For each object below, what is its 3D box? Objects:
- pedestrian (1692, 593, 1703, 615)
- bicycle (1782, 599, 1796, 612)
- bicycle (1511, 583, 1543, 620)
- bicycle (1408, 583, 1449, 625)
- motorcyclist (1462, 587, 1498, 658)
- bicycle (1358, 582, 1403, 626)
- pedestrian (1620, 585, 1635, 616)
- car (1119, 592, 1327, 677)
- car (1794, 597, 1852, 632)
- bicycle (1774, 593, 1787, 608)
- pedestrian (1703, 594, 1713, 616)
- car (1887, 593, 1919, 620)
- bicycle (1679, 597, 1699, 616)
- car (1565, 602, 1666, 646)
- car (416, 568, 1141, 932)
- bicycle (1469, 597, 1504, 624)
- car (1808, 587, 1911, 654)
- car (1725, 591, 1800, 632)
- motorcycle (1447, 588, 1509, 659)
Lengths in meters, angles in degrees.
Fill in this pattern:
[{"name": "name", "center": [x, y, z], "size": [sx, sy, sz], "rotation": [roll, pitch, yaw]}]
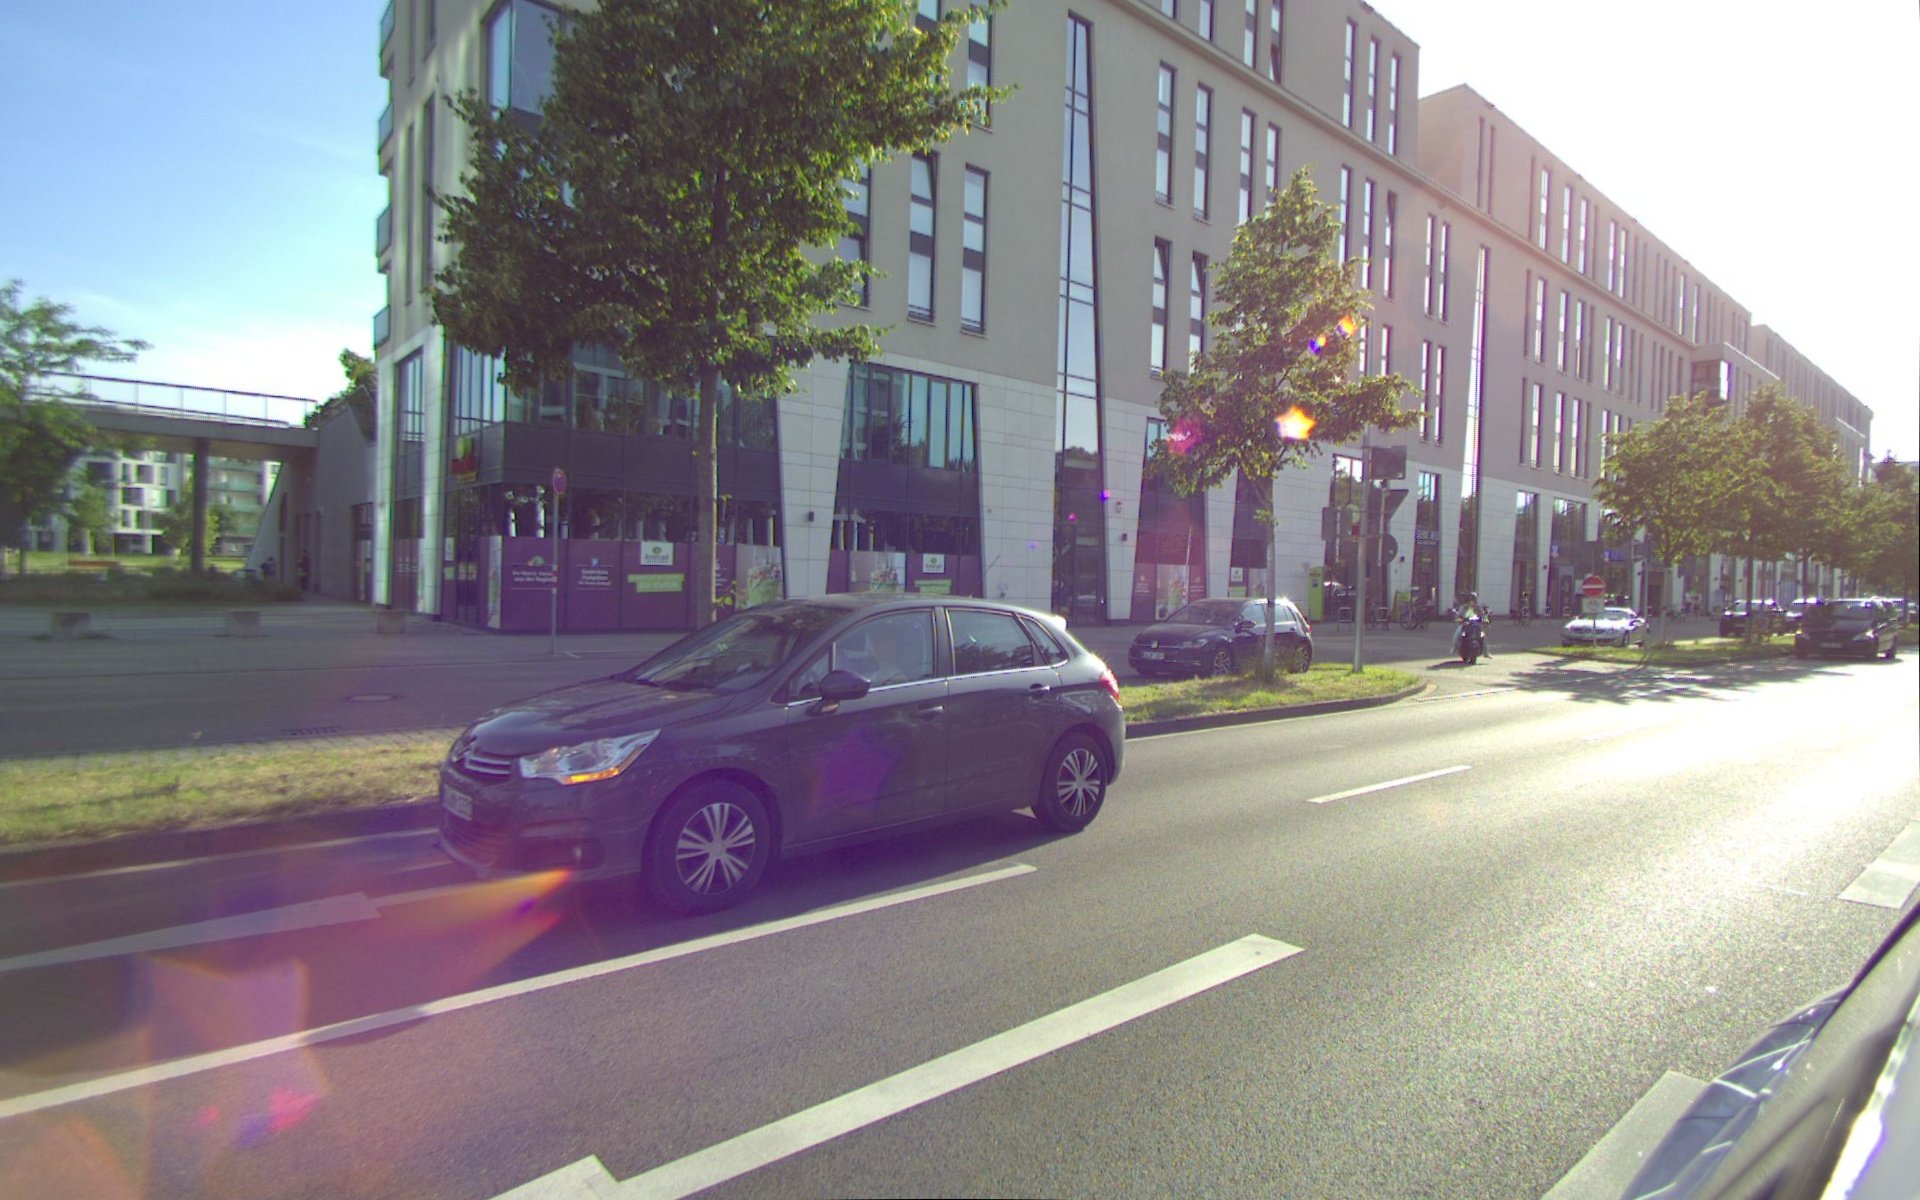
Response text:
[{"name": "pedestrian", "center": [52.626, 0.301, 72.183], "size": [0.587, 1.541, 0.514], "rotation": [0, 0, -41]}, {"name": "bicycle", "center": [66.314, 0.453, 80.948], "size": [2.007, 1.012, 0.419], "rotation": [0, 5, -40]}, {"name": "bicycle", "center": [25.957, 0.064, 46.341], "size": [2.173, 1.639, 0.556], "rotation": [-1, 0, -40]}, {"name": "bicycle", "center": [18.249, 0.141, 39.409], "size": [2.173, 1.587, 0.556], "rotation": [-1, 0, -40]}, {"name": "motorcyclist", "center": [12.602, 0.535, 24.547], "size": [0.411, 1.660, 0.624], "rotation": [0, 2, -44]}, {"name": "bicycle", "center": [15.508, 0.140, 37.315], "size": [2.236, 1.590, 0.556], "rotation": [-1, 0, -40]}, {"name": "pedestrian", "center": [38.646, 0.001, 58.598], "size": [0.635, 1.785, 0.538], "rotation": [0, 0, -40]}, {"name": "car", "center": [4.859, 0.547, 18.446], "size": [4.083, 1.388, 1.610], "rotation": [-1, 1, -40]}, {"name": "car", "center": [45.529, 0.737, 53.377], "size": [4.223, 1.733, 1.829], "rotation": [-1, 1, -43]}, {"name": "bicycle", "center": [63.666, 0.020, 78.510], "size": [1.702, 1.094, 0.345], "rotation": [0, 5, -40]}, {"name": "pedestrian", "center": [53.013, 0.347, 71.723], "size": [0.536, 1.594, 0.509], "rotation": [0, 0, 35]}, {"name": "car", "center": [68.762, 0.421, 73.427], "size": [4.946, 1.899, 1.839], "rotation": [-1, 1, -43]}, {"name": "bicycle", "center": [44.561, 0.405, 61.849], "size": [1.911, 1.130, 0.493], "rotation": [0, 2, -41]}, {"name": "car", "center": [20.784, 0.708, 32.038], "size": [3.838, 1.258, 1.711], "rotation": [-1, 1, -41]}, {"name": "car", "center": [-0.814, 0.571, 6.000], "size": [3.971, 1.442, 1.696], "rotation": [-1, 1, -43]}, {"name": "bicycle", "center": [22.406, 0.446, 43.048], "size": [1.870, 1.097, 0.635], "rotation": [0, 2, -40]}, {"name": "car", "center": [27.861, 0.571, 31.309], "size": [4.737, 1.915, 1.802], "rotation": [-1, 1, -41]}, {"name": "car", "center": [35.866, 0.504, 45.181], "size": [4.597, 1.730, 1.899], "rotation": [1, 0, -42]}, {"name": "motorcycle", "center": [12.483, 0.533, 24.357], "size": [1.978, 1.638, 0.702], "rotation": [-1, 0, -43]}]
